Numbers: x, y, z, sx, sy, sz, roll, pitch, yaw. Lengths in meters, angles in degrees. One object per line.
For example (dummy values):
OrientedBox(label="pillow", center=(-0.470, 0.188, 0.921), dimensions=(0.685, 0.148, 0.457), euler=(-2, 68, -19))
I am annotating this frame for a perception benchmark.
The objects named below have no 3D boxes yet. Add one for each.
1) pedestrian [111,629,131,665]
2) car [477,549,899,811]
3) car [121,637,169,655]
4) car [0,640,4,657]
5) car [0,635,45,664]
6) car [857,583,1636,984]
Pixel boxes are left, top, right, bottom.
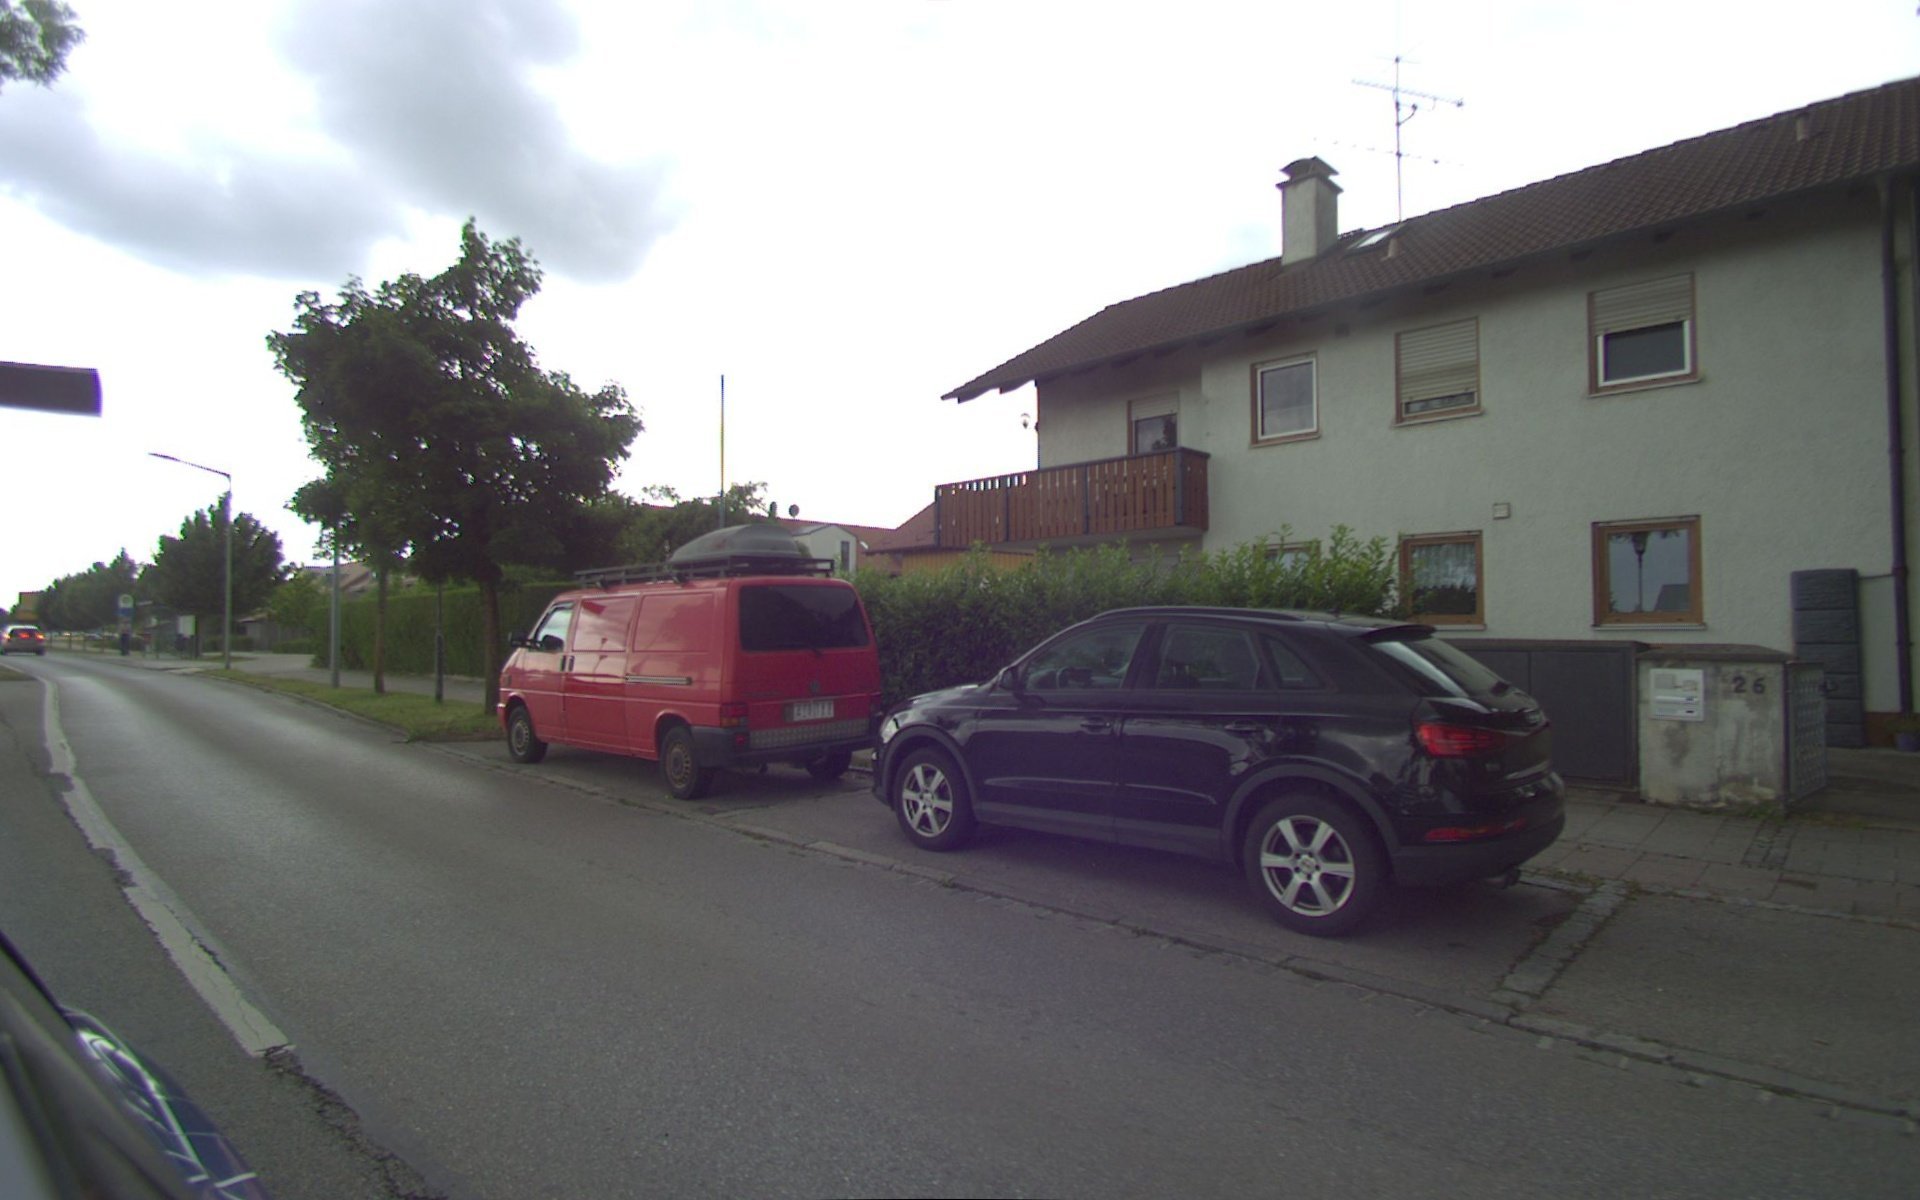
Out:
OrientedBox(label="pedestrian", center=(-39.330, 2.195, 47.446), dimensions=(0.813, 1.649, 0.582), euler=(-2, -3, 42))
OrientedBox(label="car", center=(-3.001, 0.712, 10.324), dimensions=(5.046, 2.046, 1.809), euler=(-2, -3, 44))
OrientedBox(label="car", center=(-99.778, 5.577, 123.951), dimensions=(4.504, 2.029, 2.002), euler=(-1, 0, -43))
OrientedBox(label="car", center=(-81.122, 4.033, 84.291), dimensions=(4.497, 1.465, 1.899), euler=(-2, -3, 44))
OrientedBox(label="car", center=(-51.497, 2.722, 55.519), dimensions=(1.687, 1.544, 3.509), euler=(4, -4, -45))
OrientedBox(label="car", center=(1.427, 0.806, 6.187), dimensions=(4.238, 1.610, 1.752), euler=(-3, -2, 43))
